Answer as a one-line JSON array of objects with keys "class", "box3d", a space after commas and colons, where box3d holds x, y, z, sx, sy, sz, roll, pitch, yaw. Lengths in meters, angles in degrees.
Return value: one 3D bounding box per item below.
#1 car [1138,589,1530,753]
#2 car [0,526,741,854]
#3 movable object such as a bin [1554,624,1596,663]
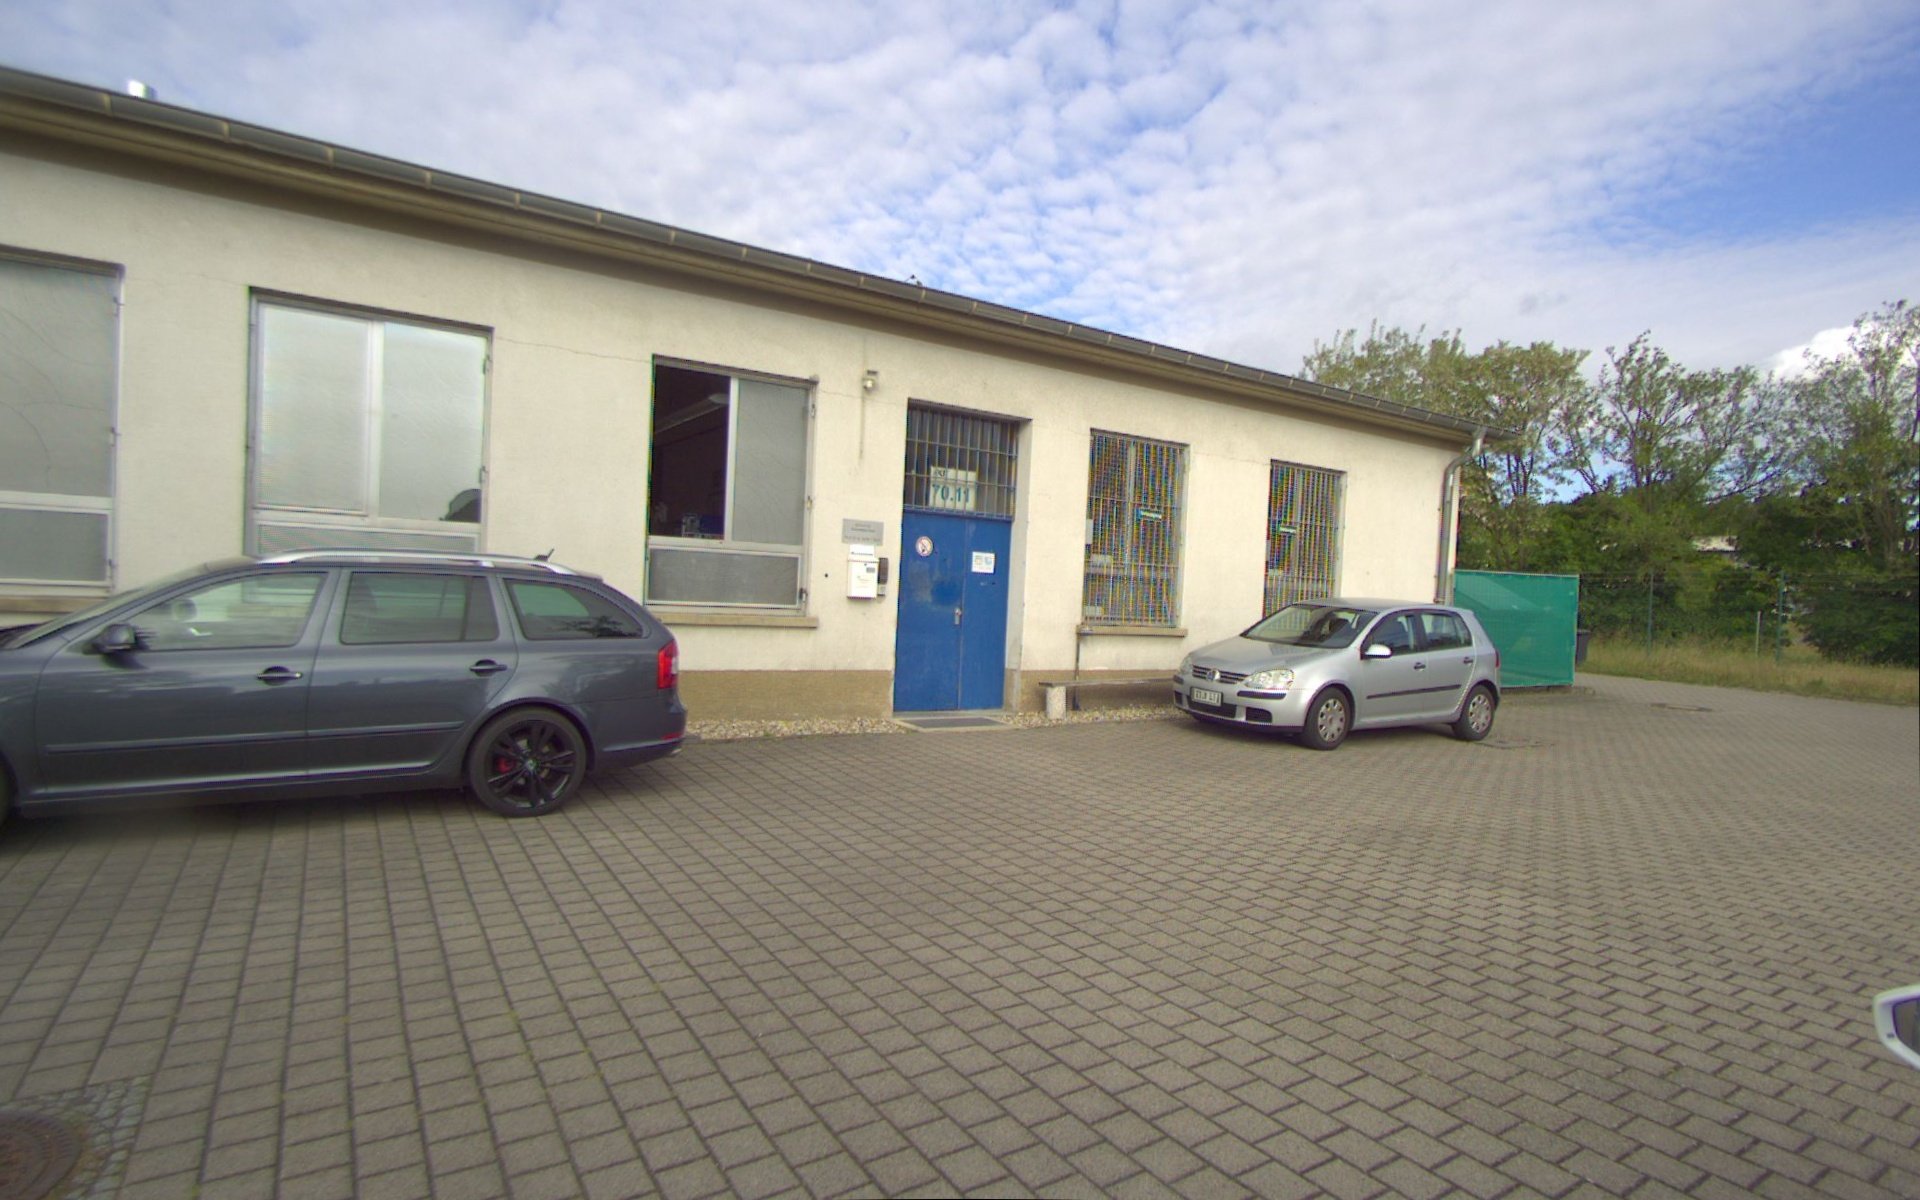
[{"class": "car", "box3d": [4.235, 0.693, 11.160, 4.323, 1.458, 1.912, 2, 1, -34]}, {"class": "car", "box3d": [-3.906, 0.402, 5.863, 4.761, 1.458, 1.912, 2, 1, -34]}, {"class": "movable object such as a bin", "box3d": [14.309, 1.011, 23.383, 0.593, 0.877, 0.582, 2, 0, -24]}]
